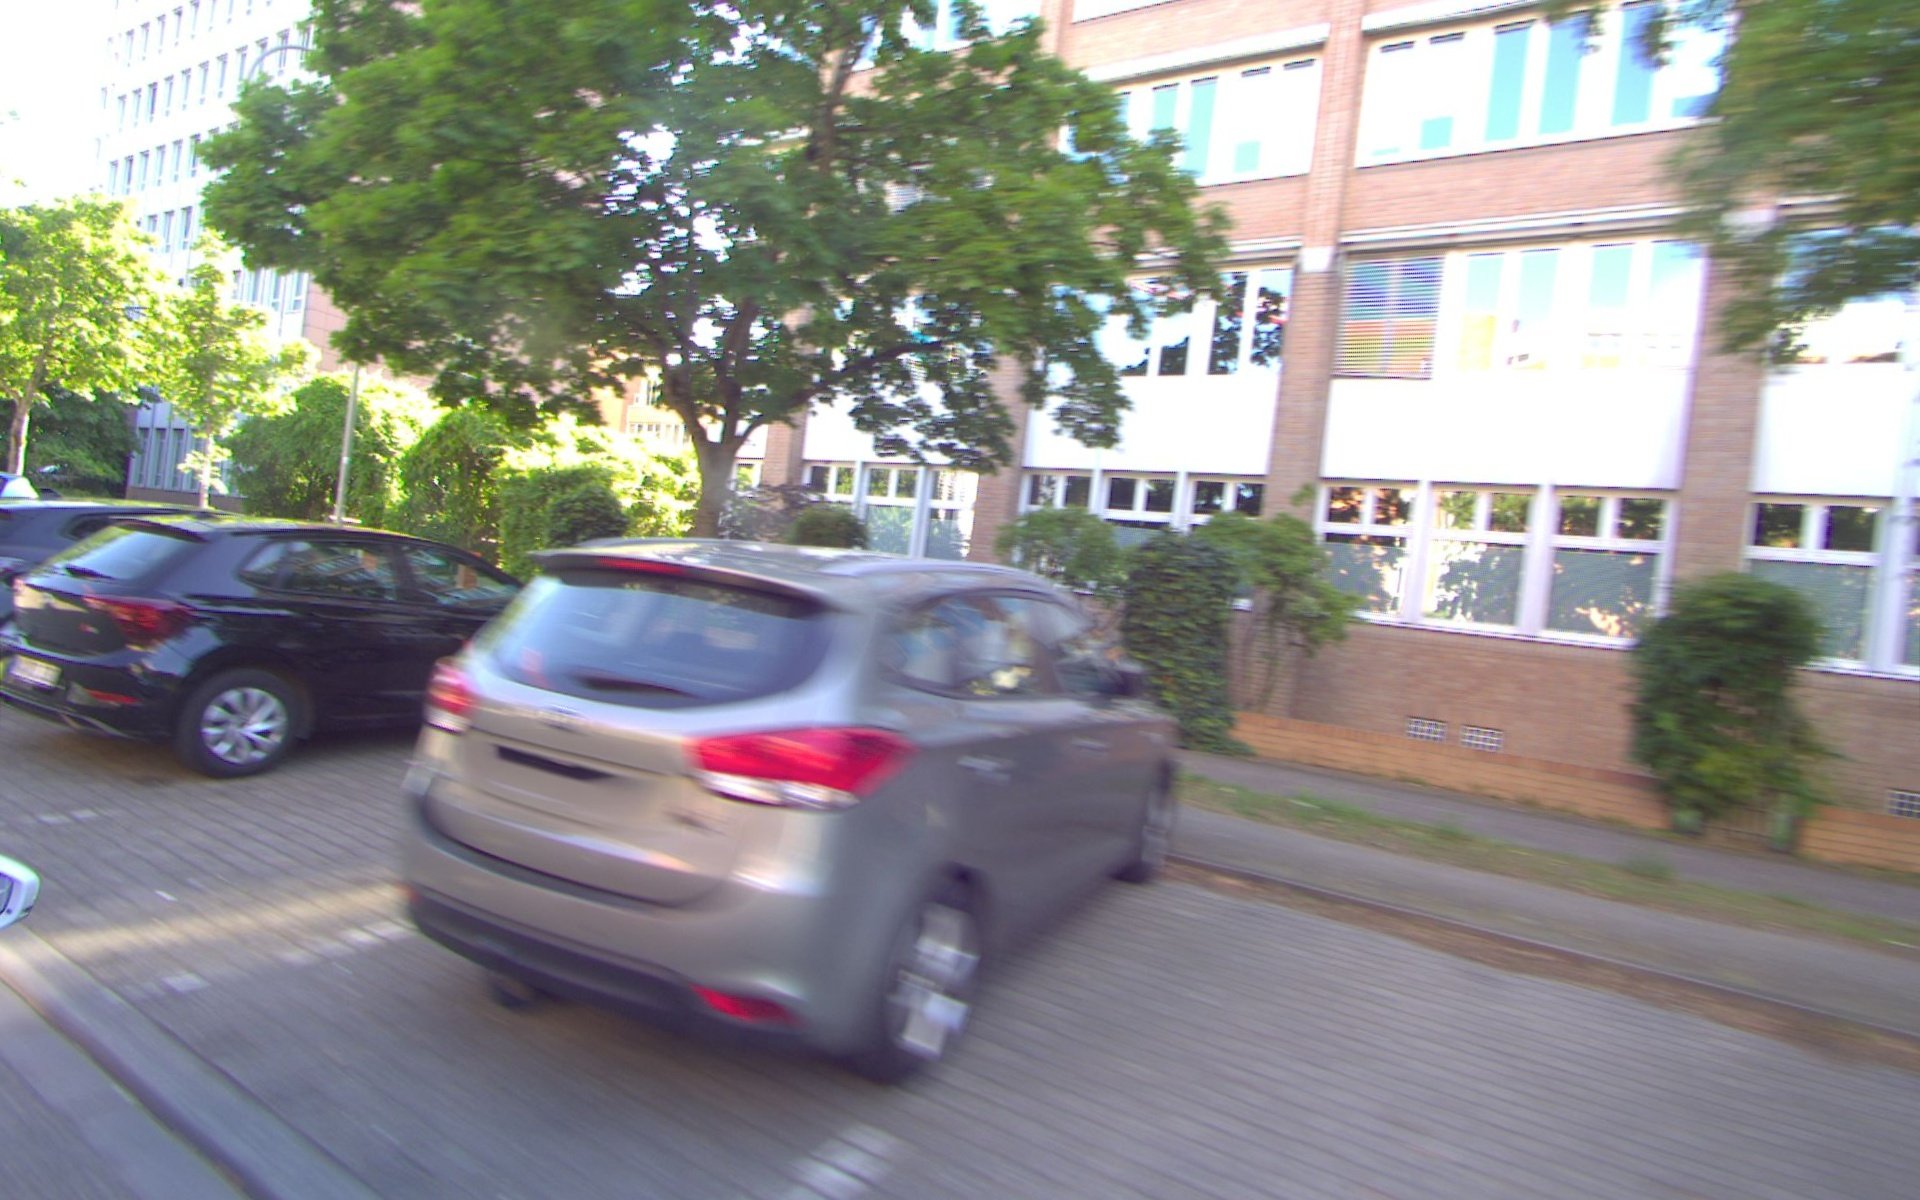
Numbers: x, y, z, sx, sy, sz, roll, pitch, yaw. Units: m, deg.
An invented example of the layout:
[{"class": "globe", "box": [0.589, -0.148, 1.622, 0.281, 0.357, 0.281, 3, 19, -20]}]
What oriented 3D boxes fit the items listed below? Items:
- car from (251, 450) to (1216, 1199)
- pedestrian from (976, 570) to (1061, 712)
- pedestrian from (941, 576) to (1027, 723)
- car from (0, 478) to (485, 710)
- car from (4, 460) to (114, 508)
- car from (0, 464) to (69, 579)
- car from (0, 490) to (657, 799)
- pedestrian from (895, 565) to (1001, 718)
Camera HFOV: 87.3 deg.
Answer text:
[{"class": "car", "box": [-0.288, 0.591, 4.600, 1.905, 1.617, 4.363, 7, 0, 25]}, {"class": "pedestrian", "box": [0.699, 0.487, 11.857, 0.549, 1.572, 0.757, 7, 1, 29]}, {"class": "pedestrian", "box": [0.272, 0.549, 11.272, 0.584, 1.540, 0.603, 7, 1, 29]}, {"class": "car", "box": [-6.312, -0.071, 8.376, 1.794, 1.503, 3.848, 8, 2, 31]}, {"class": "car", "box": [-50.811, -6.506, 56.799, 1.965, 1.803, 4.084, 7, -2, 27]}, {"class": "car", "box": [-15.602, -1.300, 13.999, 1.880, 1.640, 4.407, 7, 2, 30]}, {"class": "car", "box": [-4.147, 0.212, 6.987, 1.672, 1.427, 3.805, 8, 2, 26]}, {"class": "pedestrian", "box": [-0.118, 0.436, 10.540, 0.703, 1.476, 0.701, 7, 1, 29]}]
